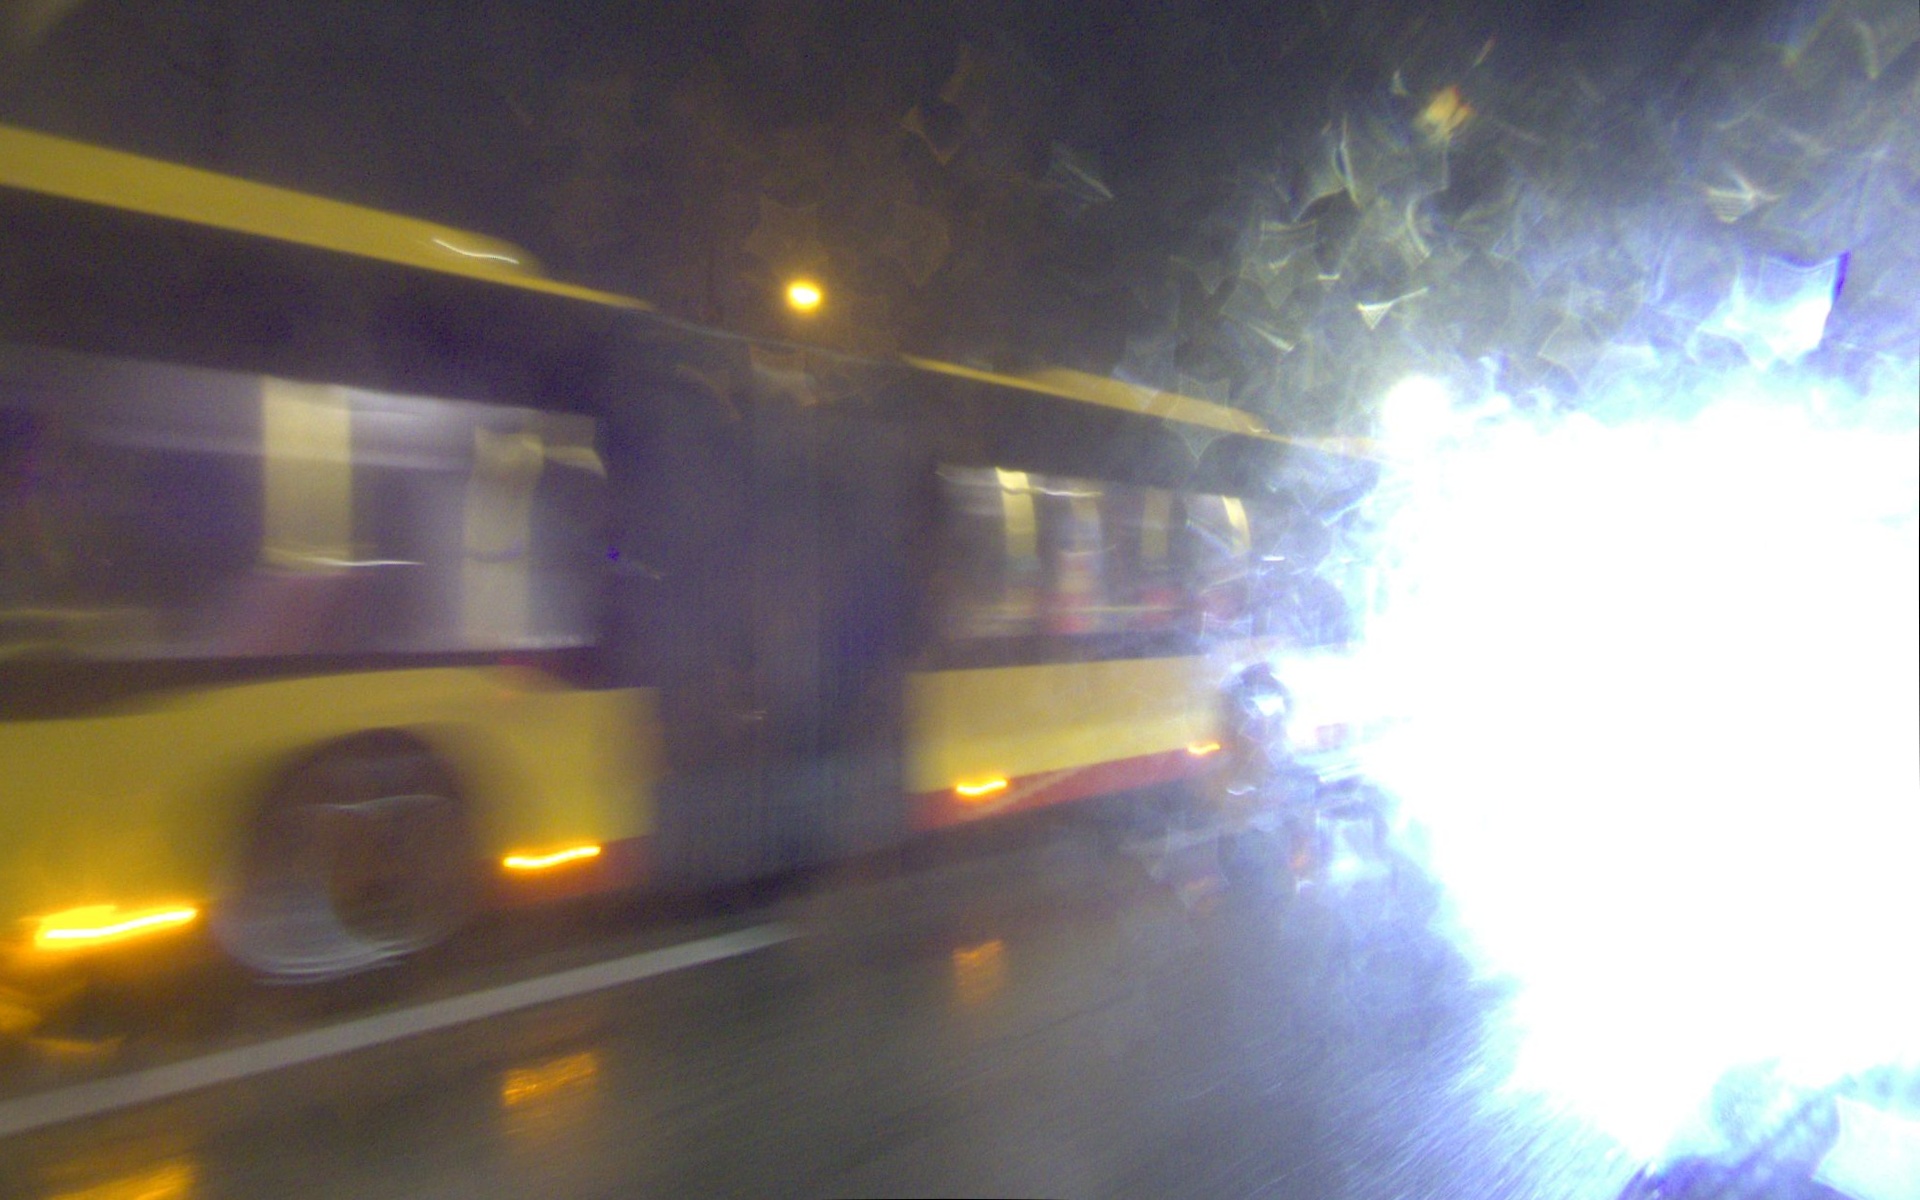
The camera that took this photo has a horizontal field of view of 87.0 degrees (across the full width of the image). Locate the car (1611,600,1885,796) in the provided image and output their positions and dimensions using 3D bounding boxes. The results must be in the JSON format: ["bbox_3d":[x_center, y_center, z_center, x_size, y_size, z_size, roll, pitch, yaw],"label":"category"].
[{"bbox_3d":[7.833,0.803,9.903,1.719,1.506,4.097,-4,-3,43],"label":"car"}]

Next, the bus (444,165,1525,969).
[{"bbox_3d":[1.306,-0.190,8.305,9.531,3.279,2.738,-1,0,-41],"label":"bus"}]

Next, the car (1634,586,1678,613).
[{"bbox_3d":[40.647,-0.055,59.167,1.596,1.464,3.937,2,2,27],"label":"car"}]

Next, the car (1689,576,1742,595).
[{"bbox_3d":[57.765,-1.126,77.460,1.877,1.407,4.810,0,1,20],"label":"car"}]

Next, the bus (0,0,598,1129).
[{"bbox_3d":[-5.984,-0.087,2.096,9.528,3.318,2.739,-1,0,-40],"label":"bus"}]
